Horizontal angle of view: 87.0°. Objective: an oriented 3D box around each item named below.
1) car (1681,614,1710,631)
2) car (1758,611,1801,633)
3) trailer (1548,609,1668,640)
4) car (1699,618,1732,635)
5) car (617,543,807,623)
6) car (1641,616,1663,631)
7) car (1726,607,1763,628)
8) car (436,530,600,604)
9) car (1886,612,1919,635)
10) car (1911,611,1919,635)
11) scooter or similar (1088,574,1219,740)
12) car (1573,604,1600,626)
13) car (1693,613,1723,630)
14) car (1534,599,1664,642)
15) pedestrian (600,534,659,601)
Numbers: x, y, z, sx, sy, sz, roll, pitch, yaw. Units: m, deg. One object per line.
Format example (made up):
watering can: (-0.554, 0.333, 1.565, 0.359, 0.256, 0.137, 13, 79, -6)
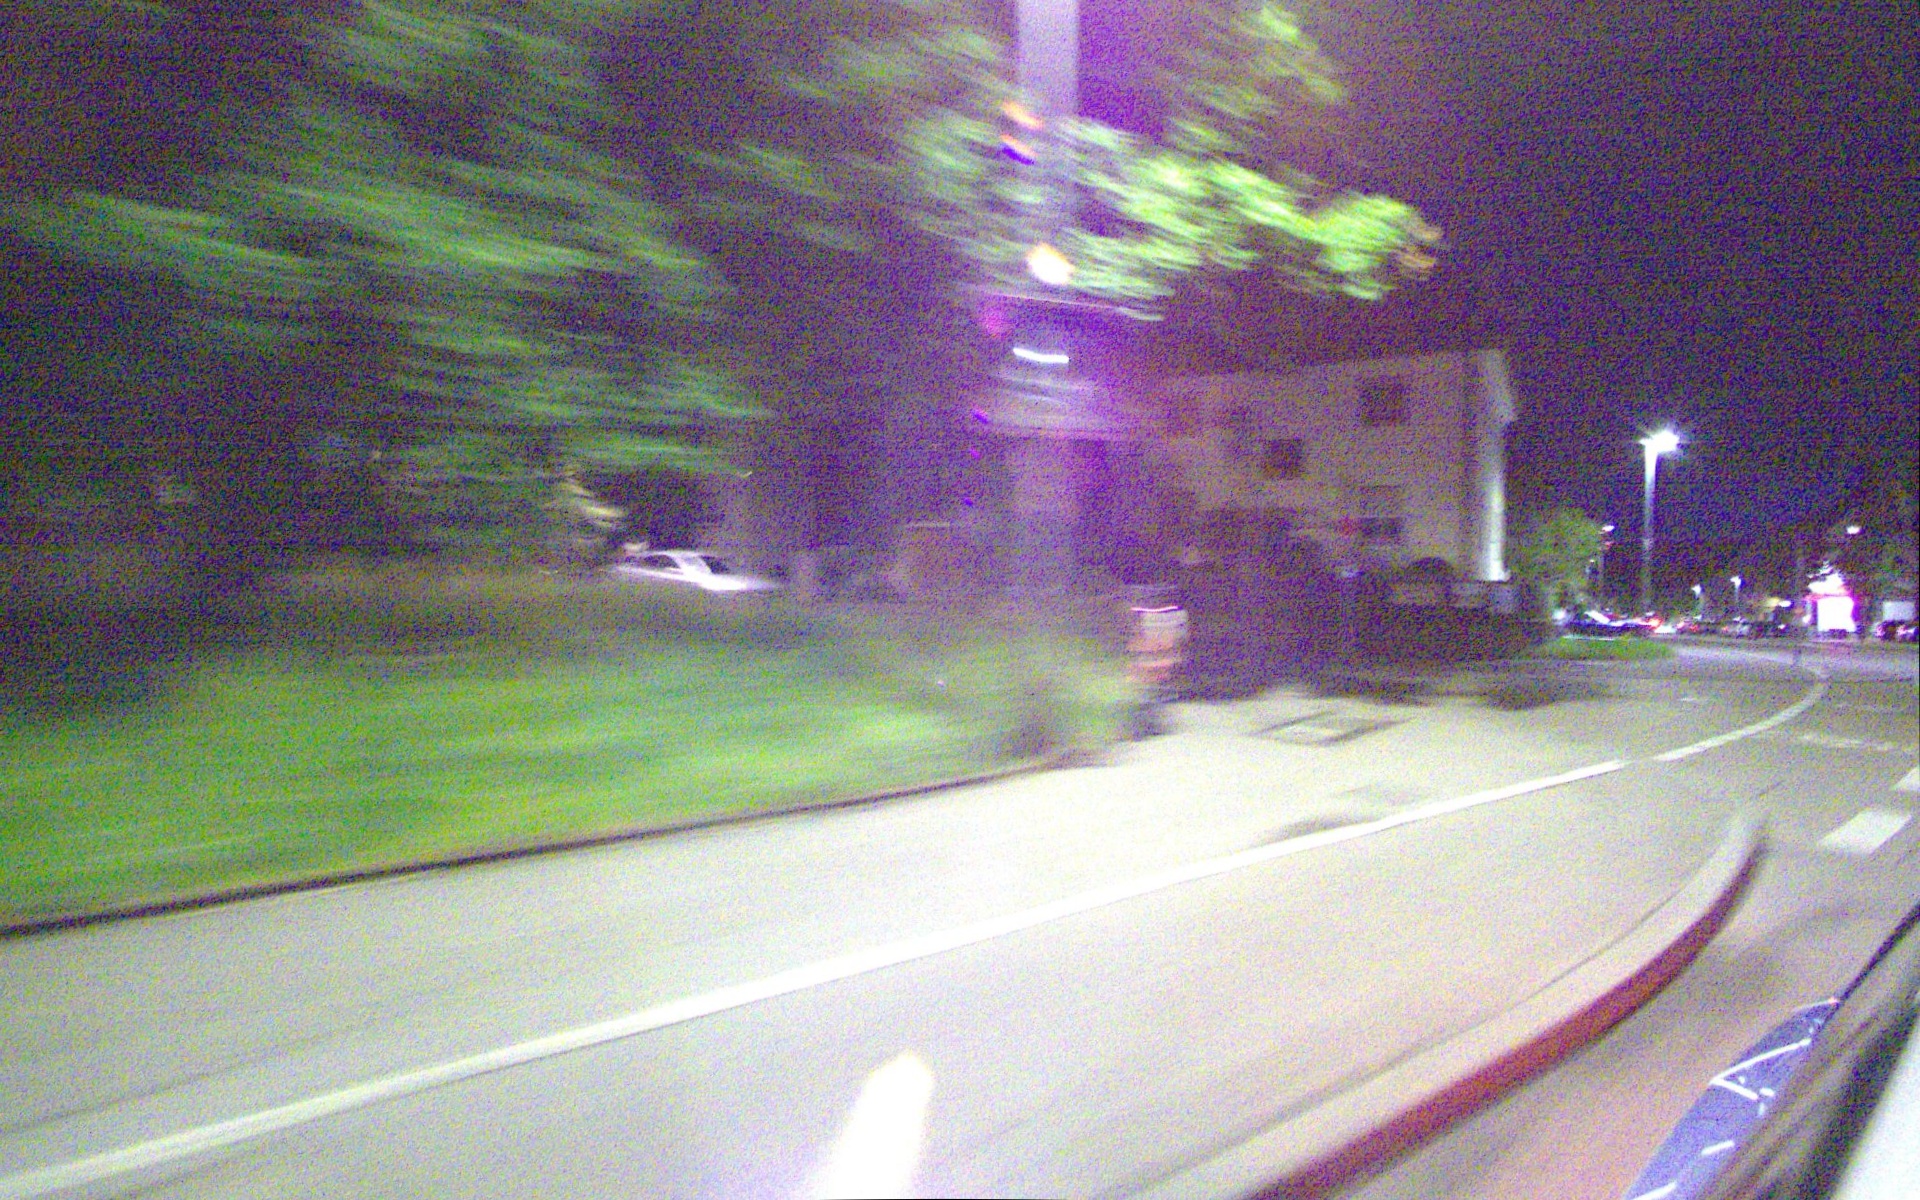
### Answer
car: (83.219, 2.538, 114.521, 2.104, 1.972, 4.836, -1, -1, 29)
car: (58.828, 1.550, 72.684, 1.740, 1.487, 3.965, 1, 0, 30)
trailer: (22.515, 0.864, 35.324, 3.416, 1.015, 1.932, -2, -1, 32)
car: (77.602, 2.687, 104.028, 2.104, 1.568, 4.431, -2, -1, 29)
car: (-5.405, -0.421, 21.917, 3.876, 1.470, 1.922, 4, 3, 35)
car: (88.659, 3.005, 129.690, 1.994, 1.770, 4.505, 2, -1, 32)
car: (66.808, 1.487, 86.254, 1.919, 1.657, 4.422, 1, -1, 30)
car: (-11.086, -0.863, 25.302, 3.975, 1.651, 1.975, 4, 3, 35)
car: (68.755, 1.724, 71.592, 4.281, 1.581, 2.012, 2, 0, 25)
car: (67.676, 1.665, 68.918, 3.975, 1.638, 1.974, 2, 0, 35)
scooter or similar: (1.725, 0.438, 8.824, 0.608, 1.297, 1.673, 1, 0, 29)
car: (48.603, 1.174, 78.527, 1.631, 1.579, 3.638, 3, 0, 30)
car: (80.218, 2.307, 108.596, 2.104, 1.692, 4.125, 1, -1, 29)
car: (20.065, 0.625, 31.930, 3.374, 1.247, 1.706, 1, 0, 30)
pedestrian: (-8.569, -0.837, 26.220, 1.319, 1.698, 0.678, 2, 1, 24)
